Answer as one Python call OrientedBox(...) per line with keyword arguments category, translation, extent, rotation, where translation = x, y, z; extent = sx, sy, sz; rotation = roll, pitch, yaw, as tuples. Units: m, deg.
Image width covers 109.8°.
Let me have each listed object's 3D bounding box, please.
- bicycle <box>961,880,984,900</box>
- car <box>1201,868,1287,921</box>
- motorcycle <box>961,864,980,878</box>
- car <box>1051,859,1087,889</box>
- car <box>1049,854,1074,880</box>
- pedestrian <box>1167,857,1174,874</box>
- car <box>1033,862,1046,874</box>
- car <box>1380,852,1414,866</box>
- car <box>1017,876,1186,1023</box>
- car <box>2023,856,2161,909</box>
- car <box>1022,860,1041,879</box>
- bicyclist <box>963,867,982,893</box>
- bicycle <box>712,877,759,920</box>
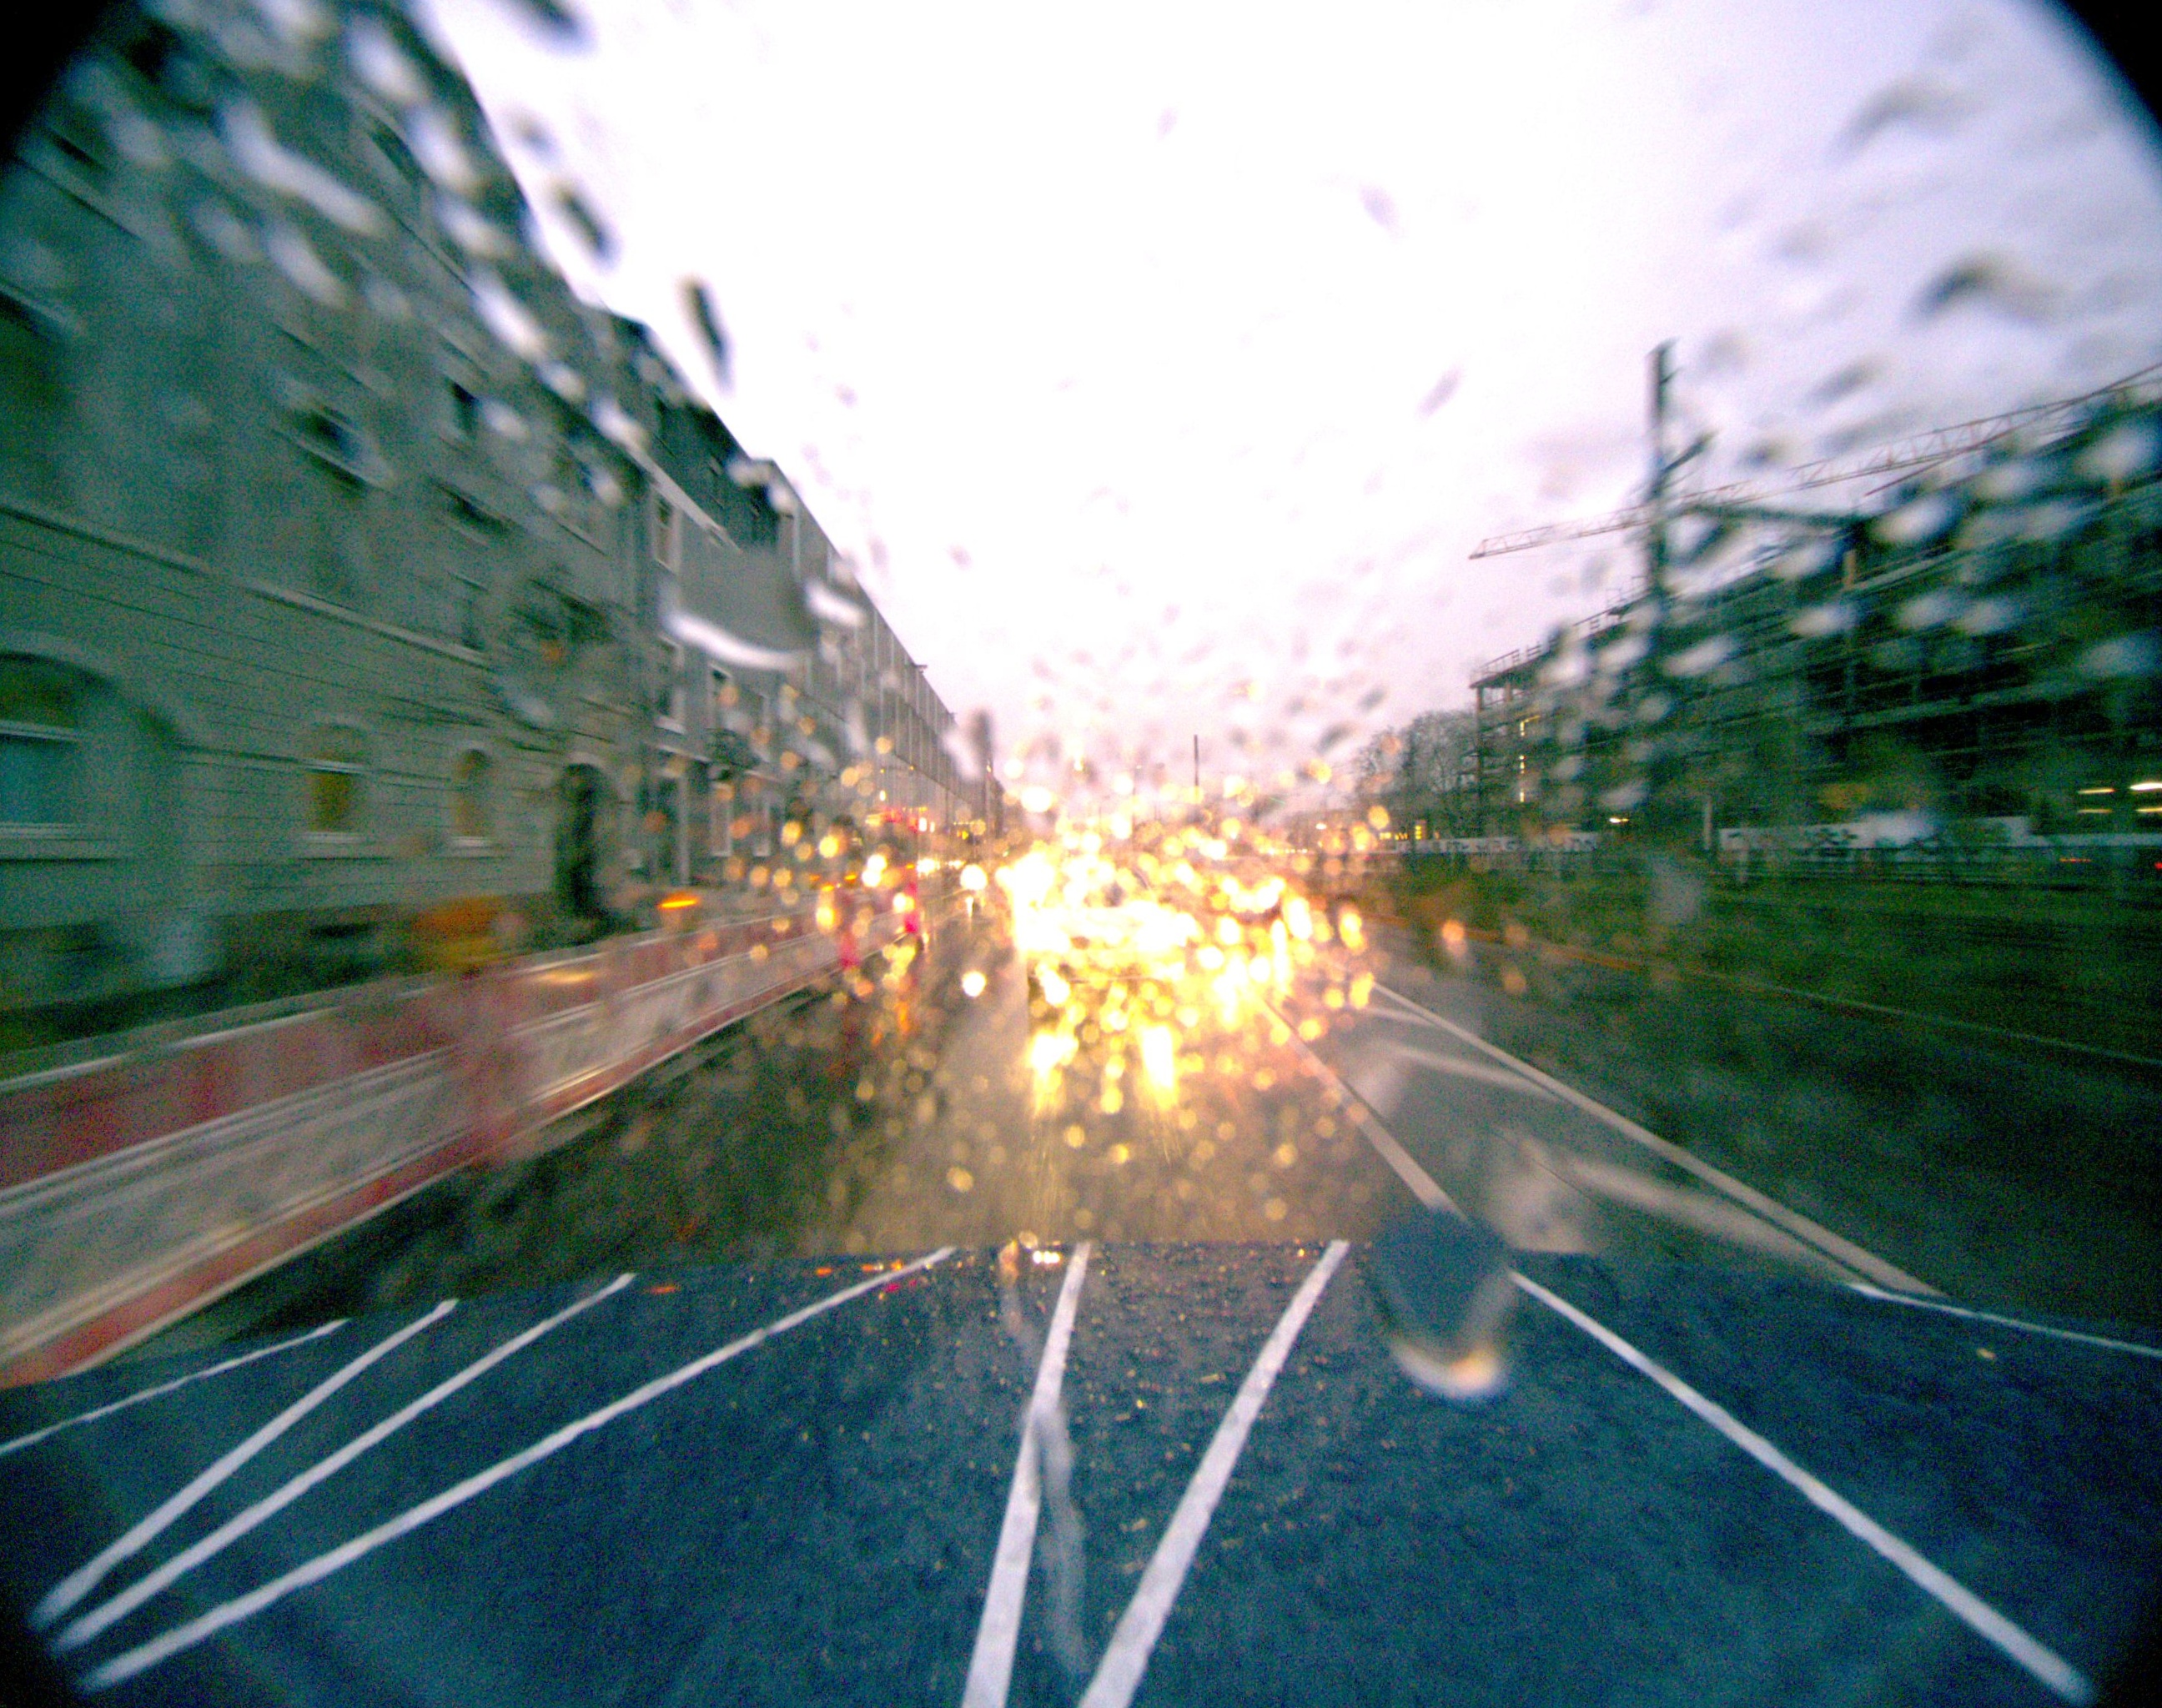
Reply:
OrientedBox(category="bicycle", translation=(-6.060, 1.996, 42.529), extent=(0.945, 0.993, 2.240), rotation=(-1, 0, -1))
OrientedBox(category="car", translation=(4.890, 1.168, 23.315), extent=(1.809, 1.444, 4.005), rotation=(0, 0, 0))
OrientedBox(category="motorcycle", translation=(-10.353, 1.587, 71.187), extent=(1.904, 1.326, 0.597), rotation=(1, 1, 38))
OrientedBox(category="car", translation=(-0.723, 1.133, 44.883), extent=(1.999, 1.673, 4.000), rotation=(-1, 0, -1))
OrientedBox(category="car", translation=(-1.505, 0.990, 58.614), extent=(1.865, 1.866, 3.999), rotation=(-1, 0, -1))
OrientedBox(category="pedestrian", translation=(8.861, 1.149, 75.183), extent=(0.585, 1.691, 0.741), rotation=(-1, 0, 8))
OrientedBox(category="car", translation=(-5.981, 2.013, 110.068), extent=(1.868, 1.652, 3.986), rotation=(-1, 0, -2))
OrientedBox(category="car", translation=(33.556, 0.565, 80.865), extent=(1.687, 1.406, 4.340), rotation=(-1, -1, -2))
OrientedBox(category="car", translation=(0.206, 1.095, 10.323), extent=(1.814, 1.464, 4.139), rotation=(-1, 0, -1))
OrientedBox(category="car", translation=(34.392, 0.900, 25.133), extent=(1.759, 1.652, 3.764), rotation=(0, 0, -1))
OrientedBox(category="car", translation=(-5.438, 1.719, 83.605), extent=(1.999, 2.002, 3.999), rotation=(-1, 0, -2))
OrientedBox(category="bicyclist", translation=(-6.065, 1.442, 42.540), extent=(0.945, 1.454, 1.066), rotation=(-1, 0, -1))
OrientedBox(category="bicycle", translation=(-10.880, 1.385, 23.995), extent=(0.684, 1.215, 1.905), rotation=(3, 0, -3))
